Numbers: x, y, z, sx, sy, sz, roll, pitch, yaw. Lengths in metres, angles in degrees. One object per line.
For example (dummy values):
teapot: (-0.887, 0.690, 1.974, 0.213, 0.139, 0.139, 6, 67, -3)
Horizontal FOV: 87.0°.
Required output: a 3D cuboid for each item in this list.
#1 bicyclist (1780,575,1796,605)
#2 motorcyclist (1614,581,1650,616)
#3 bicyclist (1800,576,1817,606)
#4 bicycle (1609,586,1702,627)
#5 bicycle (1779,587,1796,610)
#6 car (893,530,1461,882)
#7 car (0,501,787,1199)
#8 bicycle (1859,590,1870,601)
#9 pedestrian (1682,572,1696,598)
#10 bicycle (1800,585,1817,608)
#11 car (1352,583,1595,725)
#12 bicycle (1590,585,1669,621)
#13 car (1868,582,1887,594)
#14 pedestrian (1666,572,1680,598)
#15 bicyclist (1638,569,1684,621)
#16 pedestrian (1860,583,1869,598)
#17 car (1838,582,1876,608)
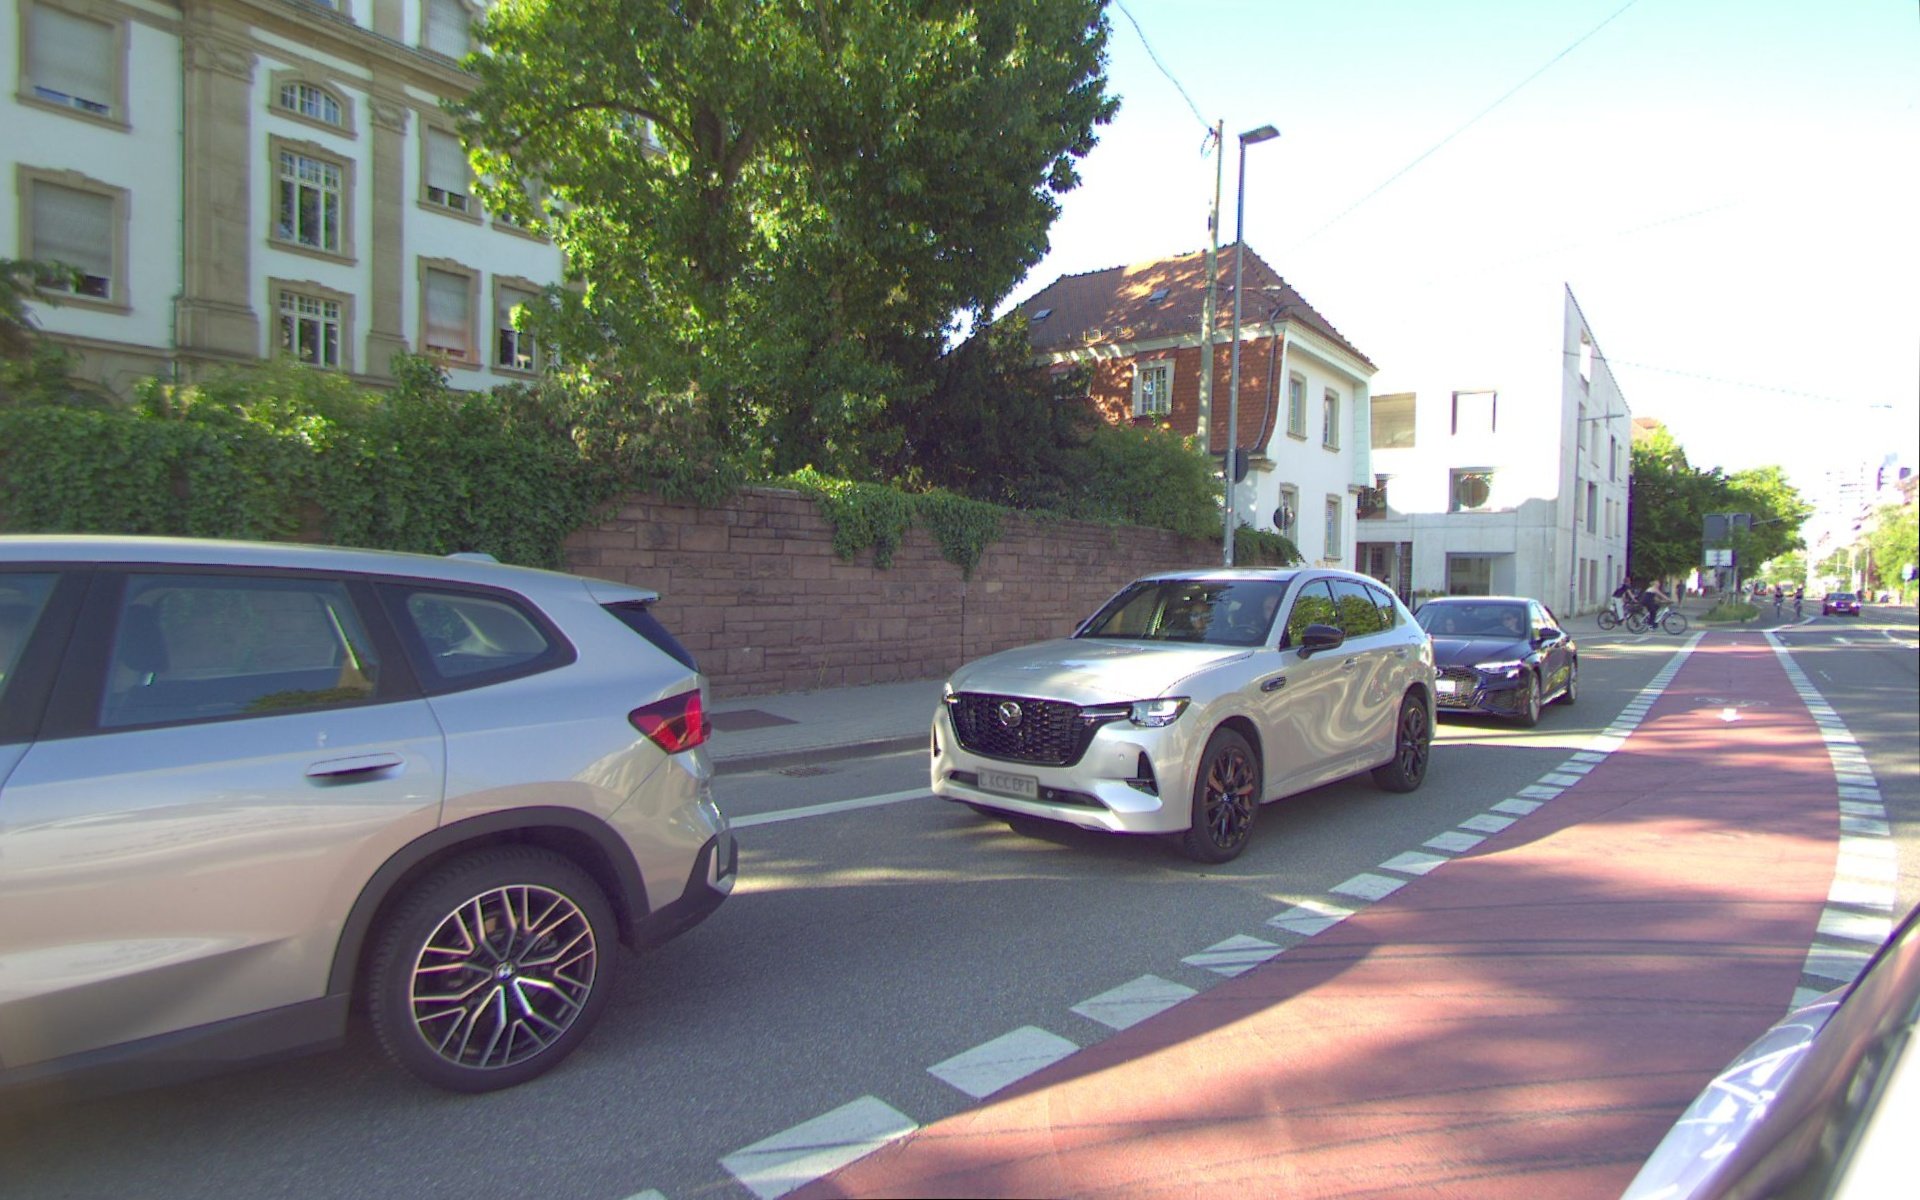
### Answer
bicyclist: (46.876, -0.556, 57.299, 0.673, 1.667, 1.014, 2, 2, 40)
motorcyclist: (24.963, -0.068, 37.606, 0.838, 1.266, 0.676, 1, 1, 3)
bicyclist: (47.303, -0.516, 56.416, 0.673, 1.667, 1.014, 2, 2, 40)
bicycle: (22.989, 0.215, 33.478, 2.419, 1.266, 0.674, 2, 1, 13)
bicycle: (46.871, -0.119, 57.321, 0.673, 1.265, 2.421, 2, 2, 40)
car: (1.811, 0.491, 7.228, 1.940, 1.713, 4.460, 0, 1, 44)
car: (-2.830, 0.577, 2.957, 4.248, 1.614, 1.792, 0, 0, -36)
bicycle: (102.226, -0.540, 114.358, 2.414, 1.266, 0.675, 0, 1, -42)
pedestrian: (47.316, -0.982, 65.692, 0.673, 1.668, 0.806, 1, 1, 40)
bicycle: (47.279, -0.201, 56.397, 0.673, 1.265, 2.421, 2, 2, 40)
car: (6.414, 0.526, 12.438, 1.782, 1.451, 3.941, 0, 1, 41)
bicycle: (24.872, 0.108, 37.614, 2.412, 1.266, 0.676, 1, 1, 3)
car: (129.013, -1.707, 142.329, 1.640, 1.580, 3.602, 0, 0, 36)
pedestrian: (46.744, -0.976, 66.332, 0.673, 1.668, 0.806, 1, 1, 40)
bicyclist: (23.148, -0.173, 33.432, 1.013, 1.667, 0.673, 1, 1, 12)
pedestrian: (102.249, -1.045, 114.366, 0.803, 1.668, 0.675, 0, 1, -41)
car: (54.807, -0.326, 61.817, 1.644, 1.580, 3.593, 0, 0, 44)
